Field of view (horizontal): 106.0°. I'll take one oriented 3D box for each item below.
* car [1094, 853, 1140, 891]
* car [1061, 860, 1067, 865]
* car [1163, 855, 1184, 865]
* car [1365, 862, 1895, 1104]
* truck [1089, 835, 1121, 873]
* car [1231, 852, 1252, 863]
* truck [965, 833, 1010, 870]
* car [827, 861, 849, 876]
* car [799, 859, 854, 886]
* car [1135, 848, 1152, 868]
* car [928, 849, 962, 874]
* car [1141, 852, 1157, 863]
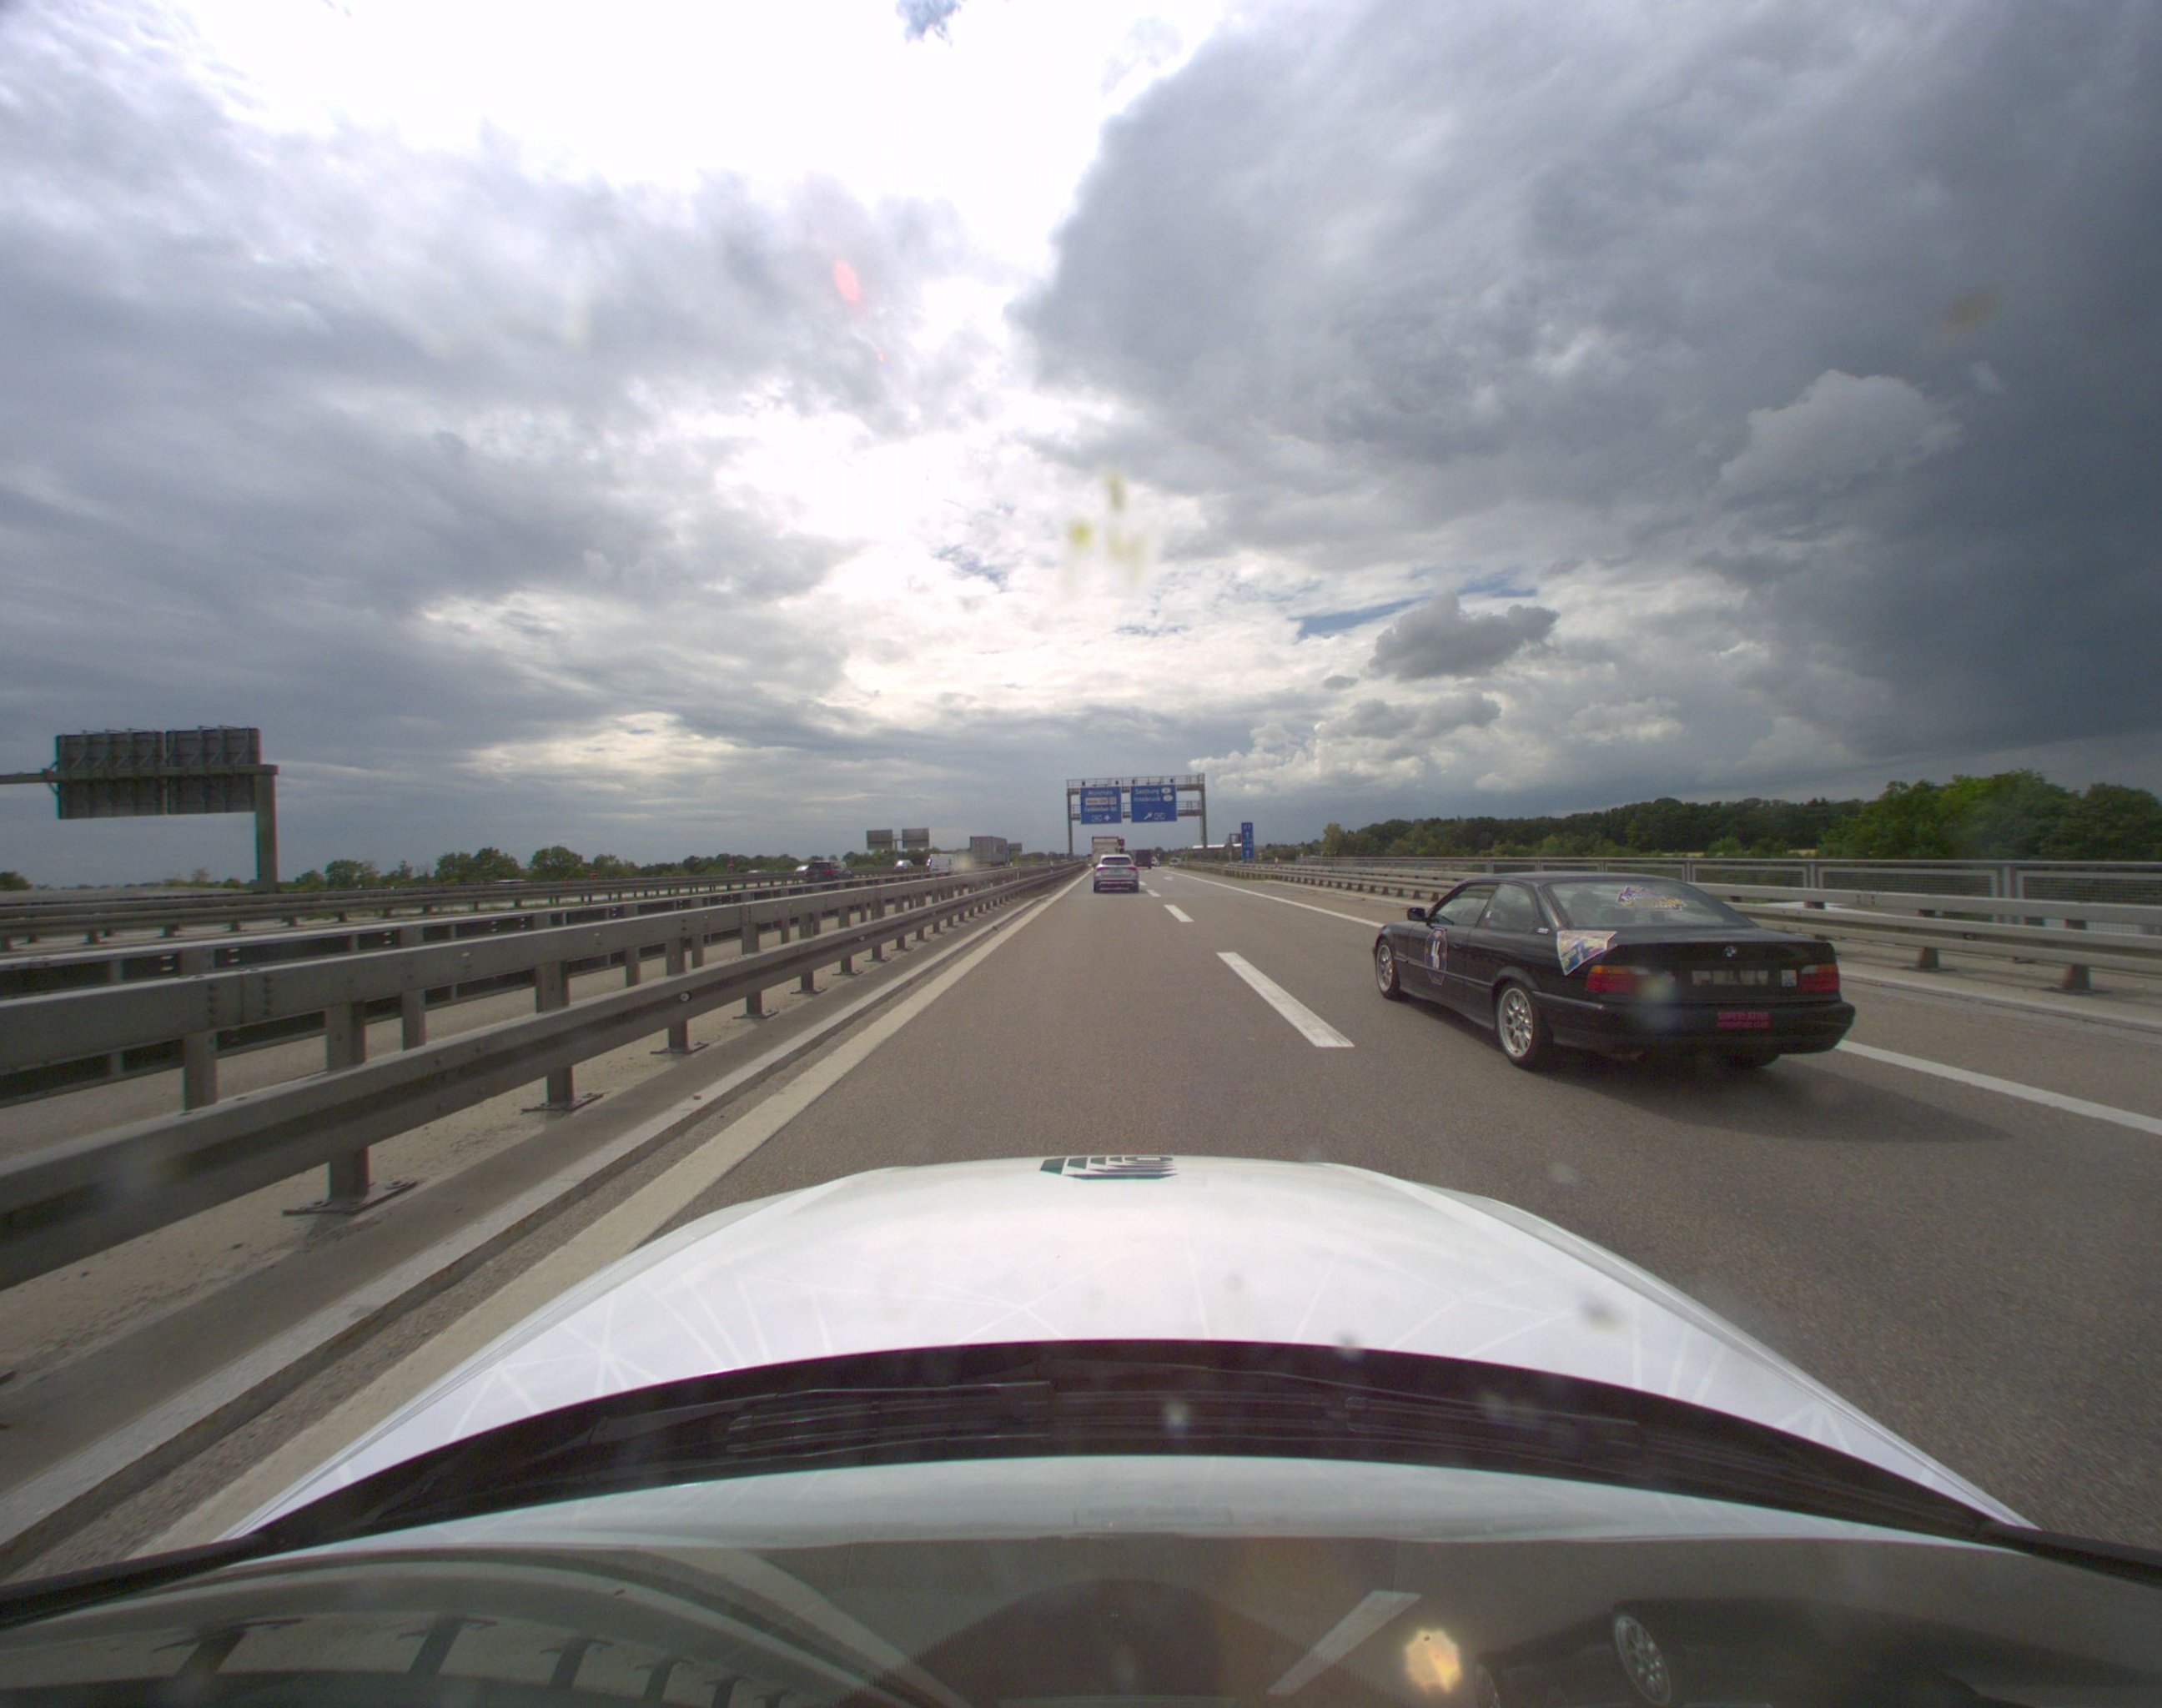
[{"bbox_3d":[1.482,0.732,35.028,1.813,1.514,4.000,0,0,0],"label":"car"},{"bbox_3d":[-5.376,2.630,256.828,1.820,1.563,4.003,-1,0,3],"label":"car"},{"bbox_3d":[16.917,1.101,148.753,1.974,1.709,4.026,0,0,37],"label":"car"},{"bbox_3d":[3.860,0.754,6.799,1.697,1.281,4.370,0,0,3],"label":"car"},{"bbox_3d":[2.116,0.074,70.451,2.559,3.126,8.637,0,-1,2],"label":"truck"},{"bbox_3d":[31.688,0.729,160.985,4.019,2.013,1.763,3,0,-38],"label":"car"},{"bbox_3d":[-10.847,-0.347,96.048,3.172,4.019,16.077,0,0,1],"label":"truck"},{"bbox_3d":[-37.831,2.229,126.867,1.986,2.306,4.492,0,0,2],"label":"car"},{"bbox_3d":[-15.730,1.106,50.634,1.874,1.546,4.616,0,0,1],"label":"car"},{"bbox_3d":[7.382,0.468,96.650,1.898,2.262,4.653,0,0,3],"label":"car"},{"bbox_3d":[-11.539,0.635,69.142,1.986,2.013,4.376,0,0,2],"label":"car"},{"bbox_3d":[10.493,0.490,125.119,1.981,1.709,4.011,0,0,10],"label":"car"}]
